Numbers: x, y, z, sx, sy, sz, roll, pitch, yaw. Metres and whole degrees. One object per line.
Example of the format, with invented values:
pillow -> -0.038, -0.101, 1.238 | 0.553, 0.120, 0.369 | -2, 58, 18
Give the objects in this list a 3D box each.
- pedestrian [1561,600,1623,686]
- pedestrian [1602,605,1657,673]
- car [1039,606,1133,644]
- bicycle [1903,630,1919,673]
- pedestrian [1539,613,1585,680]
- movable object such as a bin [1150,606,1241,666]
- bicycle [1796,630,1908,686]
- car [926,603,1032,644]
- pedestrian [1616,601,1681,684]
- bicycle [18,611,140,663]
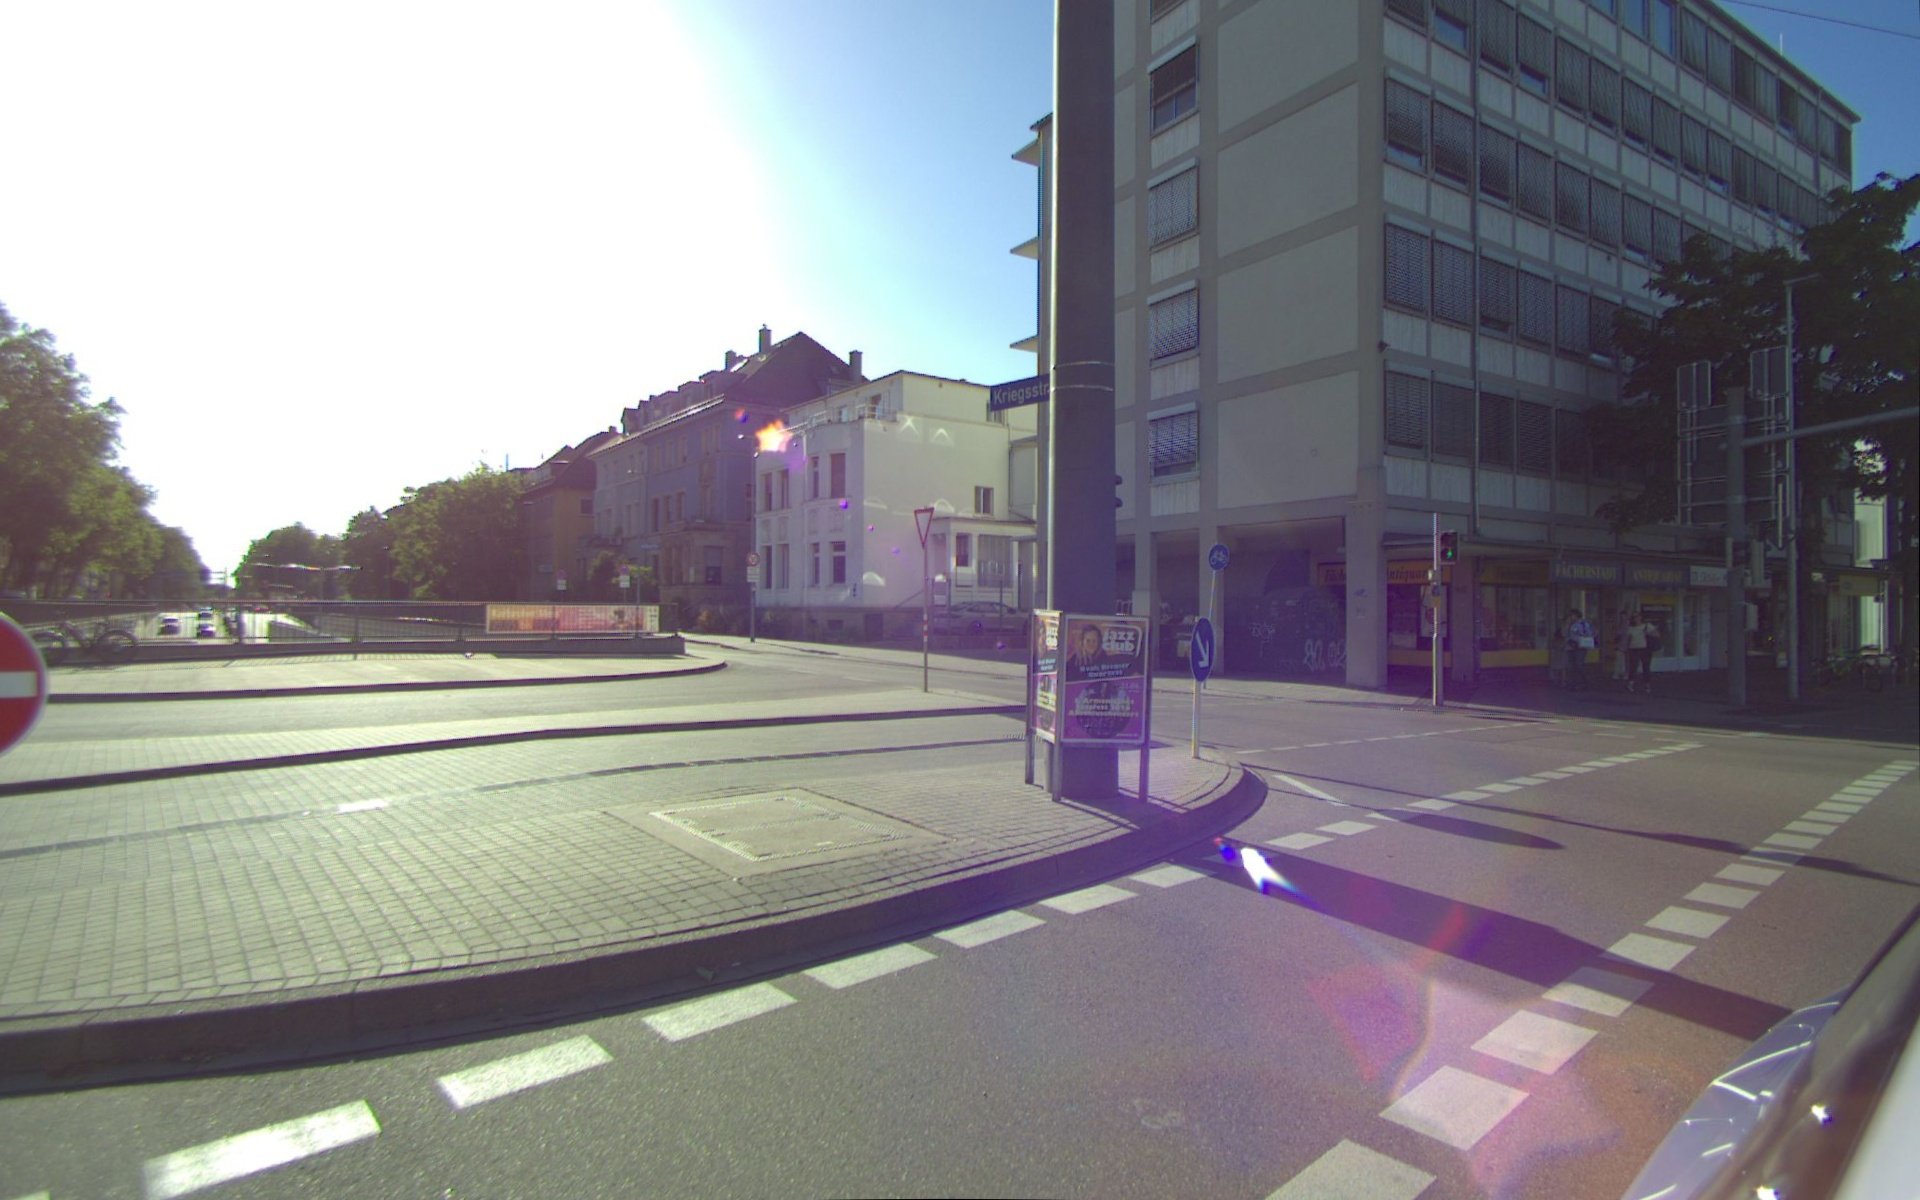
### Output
pedestrian -> 13.283, 0.886, 21.271 | 0.831, 1.743, 0.878 | 1, -2, -41
pedestrian -> 16.430, 0.933, 24.840 | 0.863, 1.623, 0.846 | 0, -1, -33
car -> 5.504, 1.058, 44.004 | 3.950, 1.580, 1.786 | 0, -1, -37
bicycle -> 26.712, 1.416, 27.283 | 0.427, 1.166, 1.815 | 0, 0, -34
pedestrian -> 13.391, 1.021, 22.518 | 0.608, 1.440, 0.647 | 0, -1, -29
movable object such as a bin -> 6.251, 0.916, 26.970 | 1.423, 1.488, 1.918 | -1, 0, -30
bicycle -> 20.843, 1.331, 23.690 | 0.471, 1.171, 1.898 | 0, 1, -30
car -> 0.779, 0.907, 40.303 | 3.951, 1.578, 1.801 | 0, -1, -37
pedestrian -> 14.764, 0.898, 21.709 | 0.862, 1.729, 0.846 | 0, -1, -31
bicycle -> -19.260, 0.785, 22.176 | 1.959, 1.094, 0.596 | 1, -2, -38
